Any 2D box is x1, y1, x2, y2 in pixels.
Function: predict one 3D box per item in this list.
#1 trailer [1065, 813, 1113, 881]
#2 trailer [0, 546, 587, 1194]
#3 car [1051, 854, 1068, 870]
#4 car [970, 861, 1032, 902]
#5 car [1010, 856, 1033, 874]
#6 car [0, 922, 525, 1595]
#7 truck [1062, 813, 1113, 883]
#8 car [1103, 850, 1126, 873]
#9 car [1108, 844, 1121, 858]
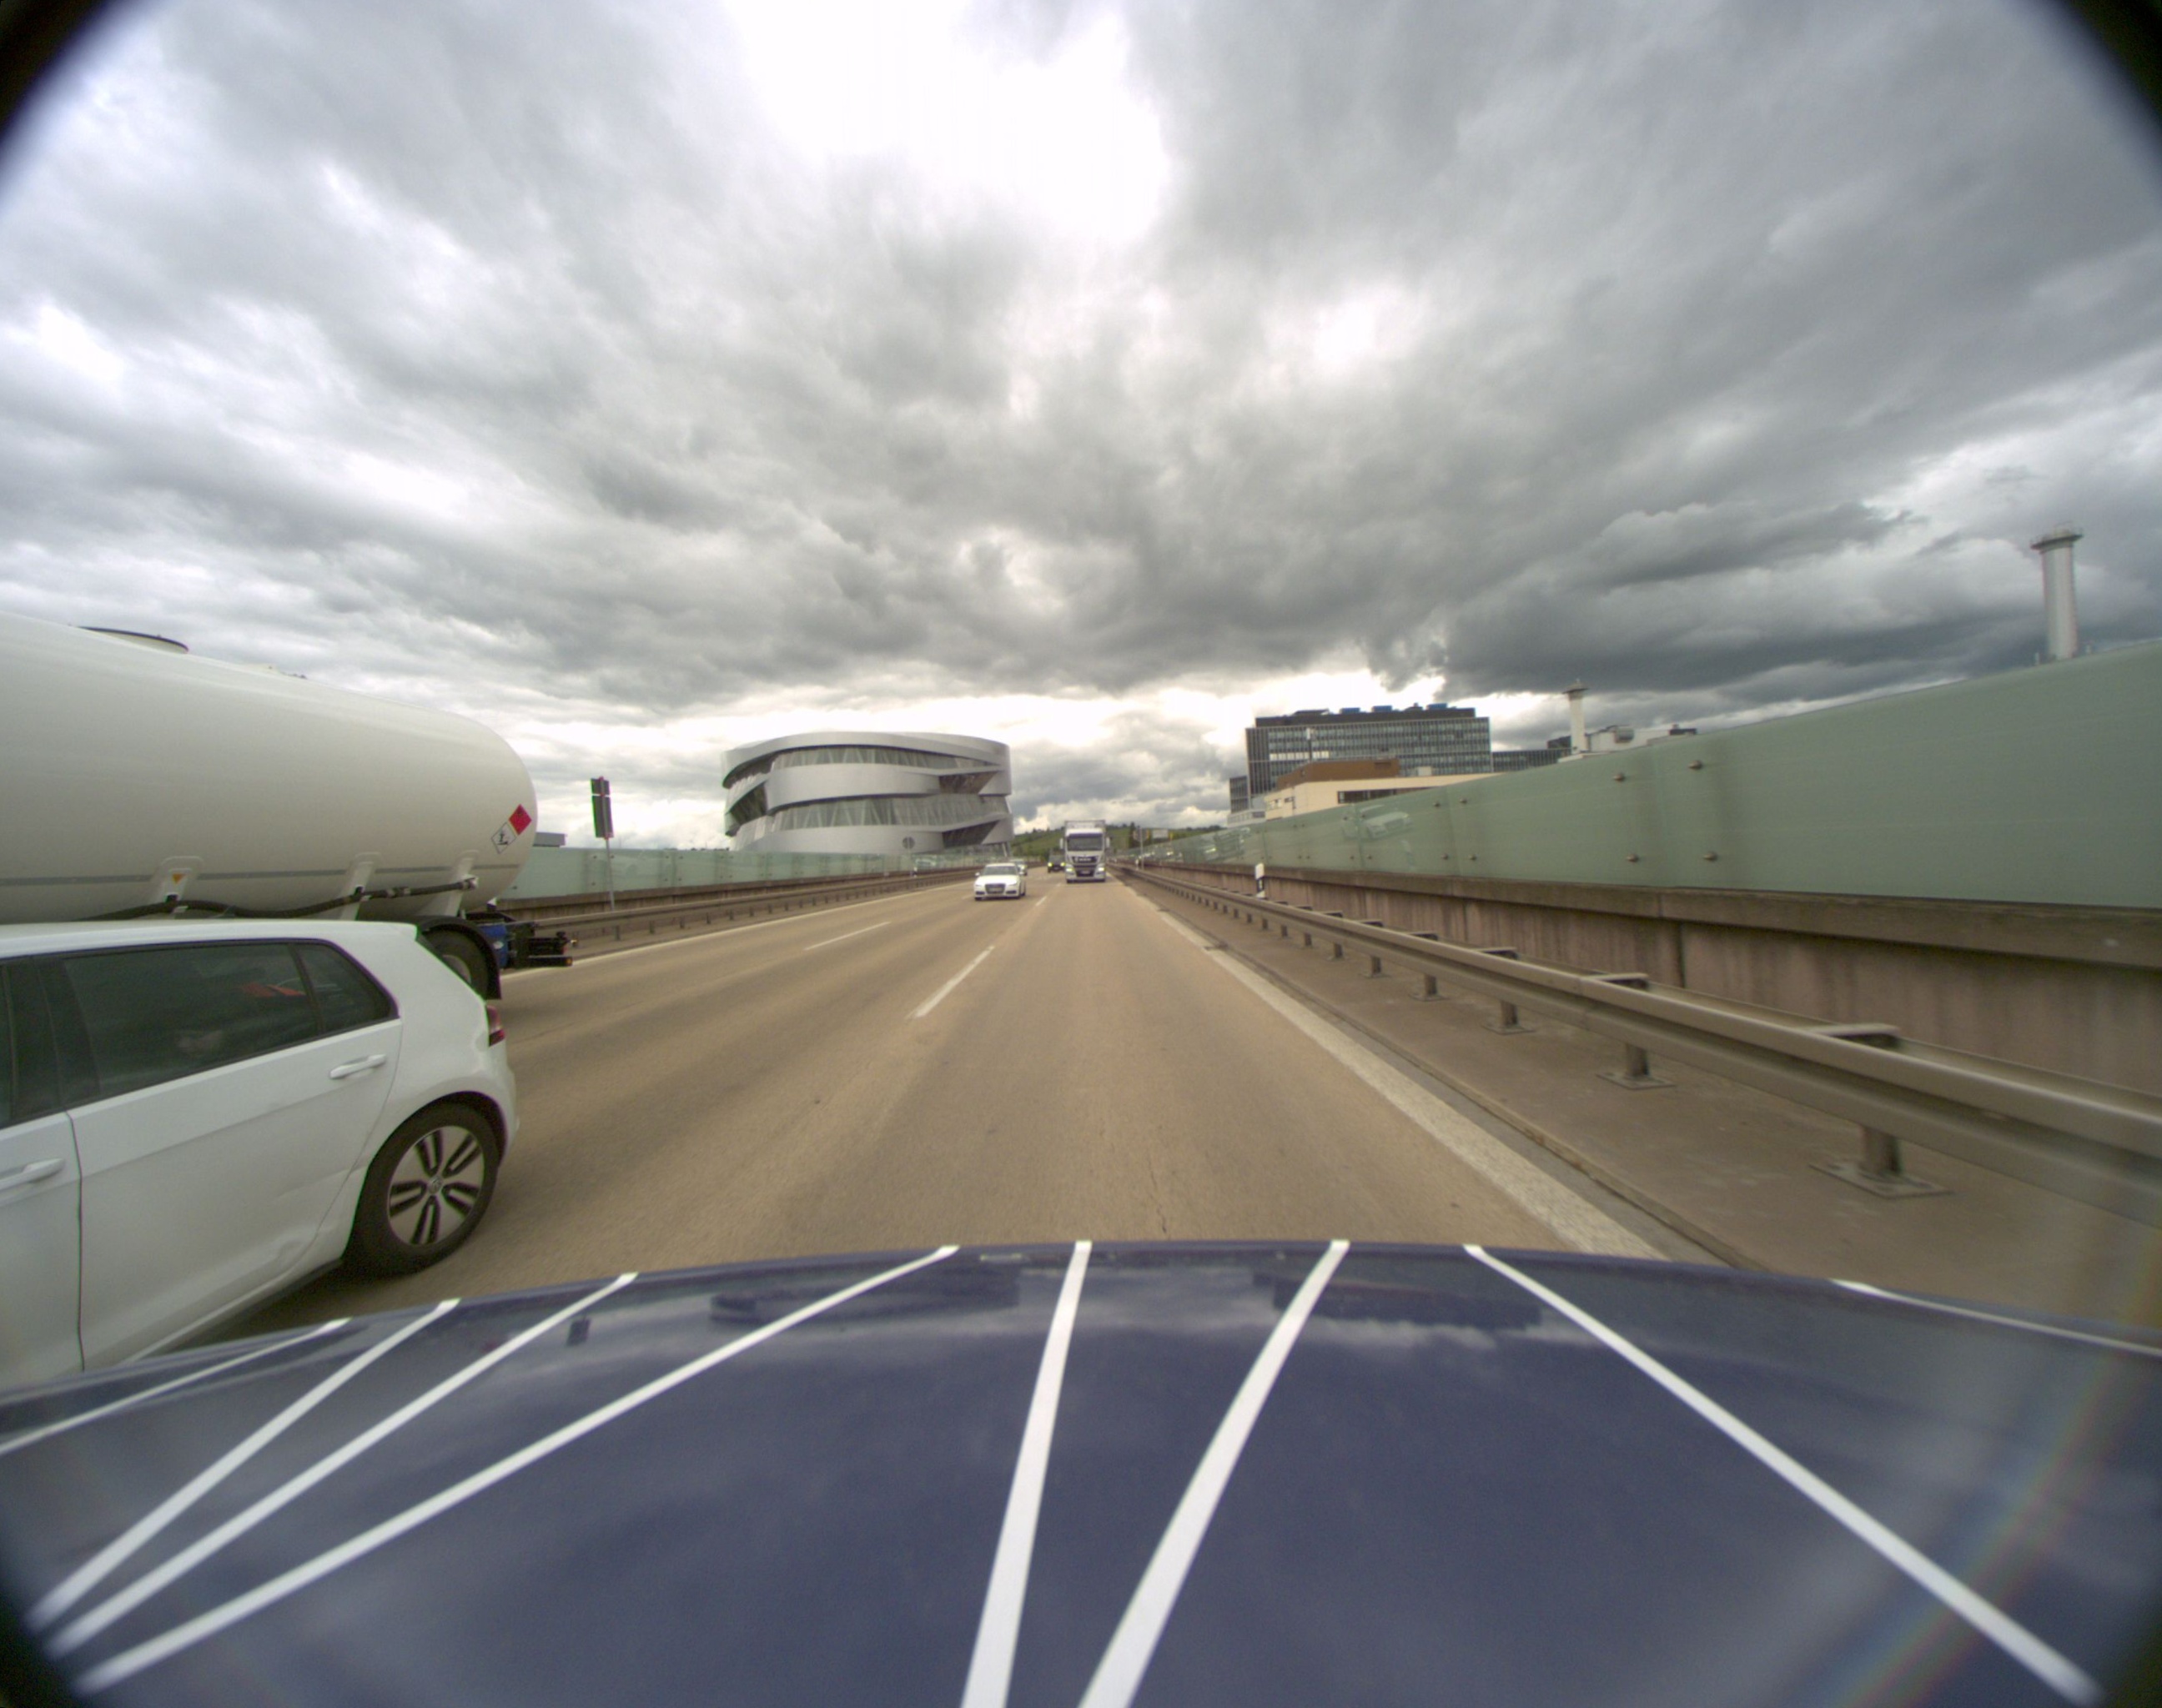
[{"bbox_3d":[0.590,-0.444,52.725,2.880,4.104,11.220,-2,0,1],"label":"trailer"},{"bbox_3d":[-7.227,0.119,3.213,2.657,3.523,11.219,-2,0,1],"label":"trailer"},{"bbox_3d":[-2.421,0.871,86.239,1.765,1.624,3.627,-2,1,2],"label":"car"},{"bbox_3d":[-3.153,1.056,30.758,1.847,1.443,3.933,-2,0,3],"label":"car"},{"bbox_3d":[-5.772,1.014,74.304,1.785,1.624,3.627,-2,1,2],"label":"car"},{"bbox_3d":[-3.453,1.049,1.442,1.759,1.443,4.072,-1,0,0],"label":"car"},{"bbox_3d":[0.473,-0.371,48.343,2.946,4.136,6.291,-2,0,2],"label":"truck"},{"bbox_3d":[3.191,0.685,72.712,1.998,2.002,4.000,-2,1,0],"label":"car"},{"bbox_3d":[6.096,-0.565,138.259,2.144,2.494,4.524,-2,1,1],"label":"car"}]
